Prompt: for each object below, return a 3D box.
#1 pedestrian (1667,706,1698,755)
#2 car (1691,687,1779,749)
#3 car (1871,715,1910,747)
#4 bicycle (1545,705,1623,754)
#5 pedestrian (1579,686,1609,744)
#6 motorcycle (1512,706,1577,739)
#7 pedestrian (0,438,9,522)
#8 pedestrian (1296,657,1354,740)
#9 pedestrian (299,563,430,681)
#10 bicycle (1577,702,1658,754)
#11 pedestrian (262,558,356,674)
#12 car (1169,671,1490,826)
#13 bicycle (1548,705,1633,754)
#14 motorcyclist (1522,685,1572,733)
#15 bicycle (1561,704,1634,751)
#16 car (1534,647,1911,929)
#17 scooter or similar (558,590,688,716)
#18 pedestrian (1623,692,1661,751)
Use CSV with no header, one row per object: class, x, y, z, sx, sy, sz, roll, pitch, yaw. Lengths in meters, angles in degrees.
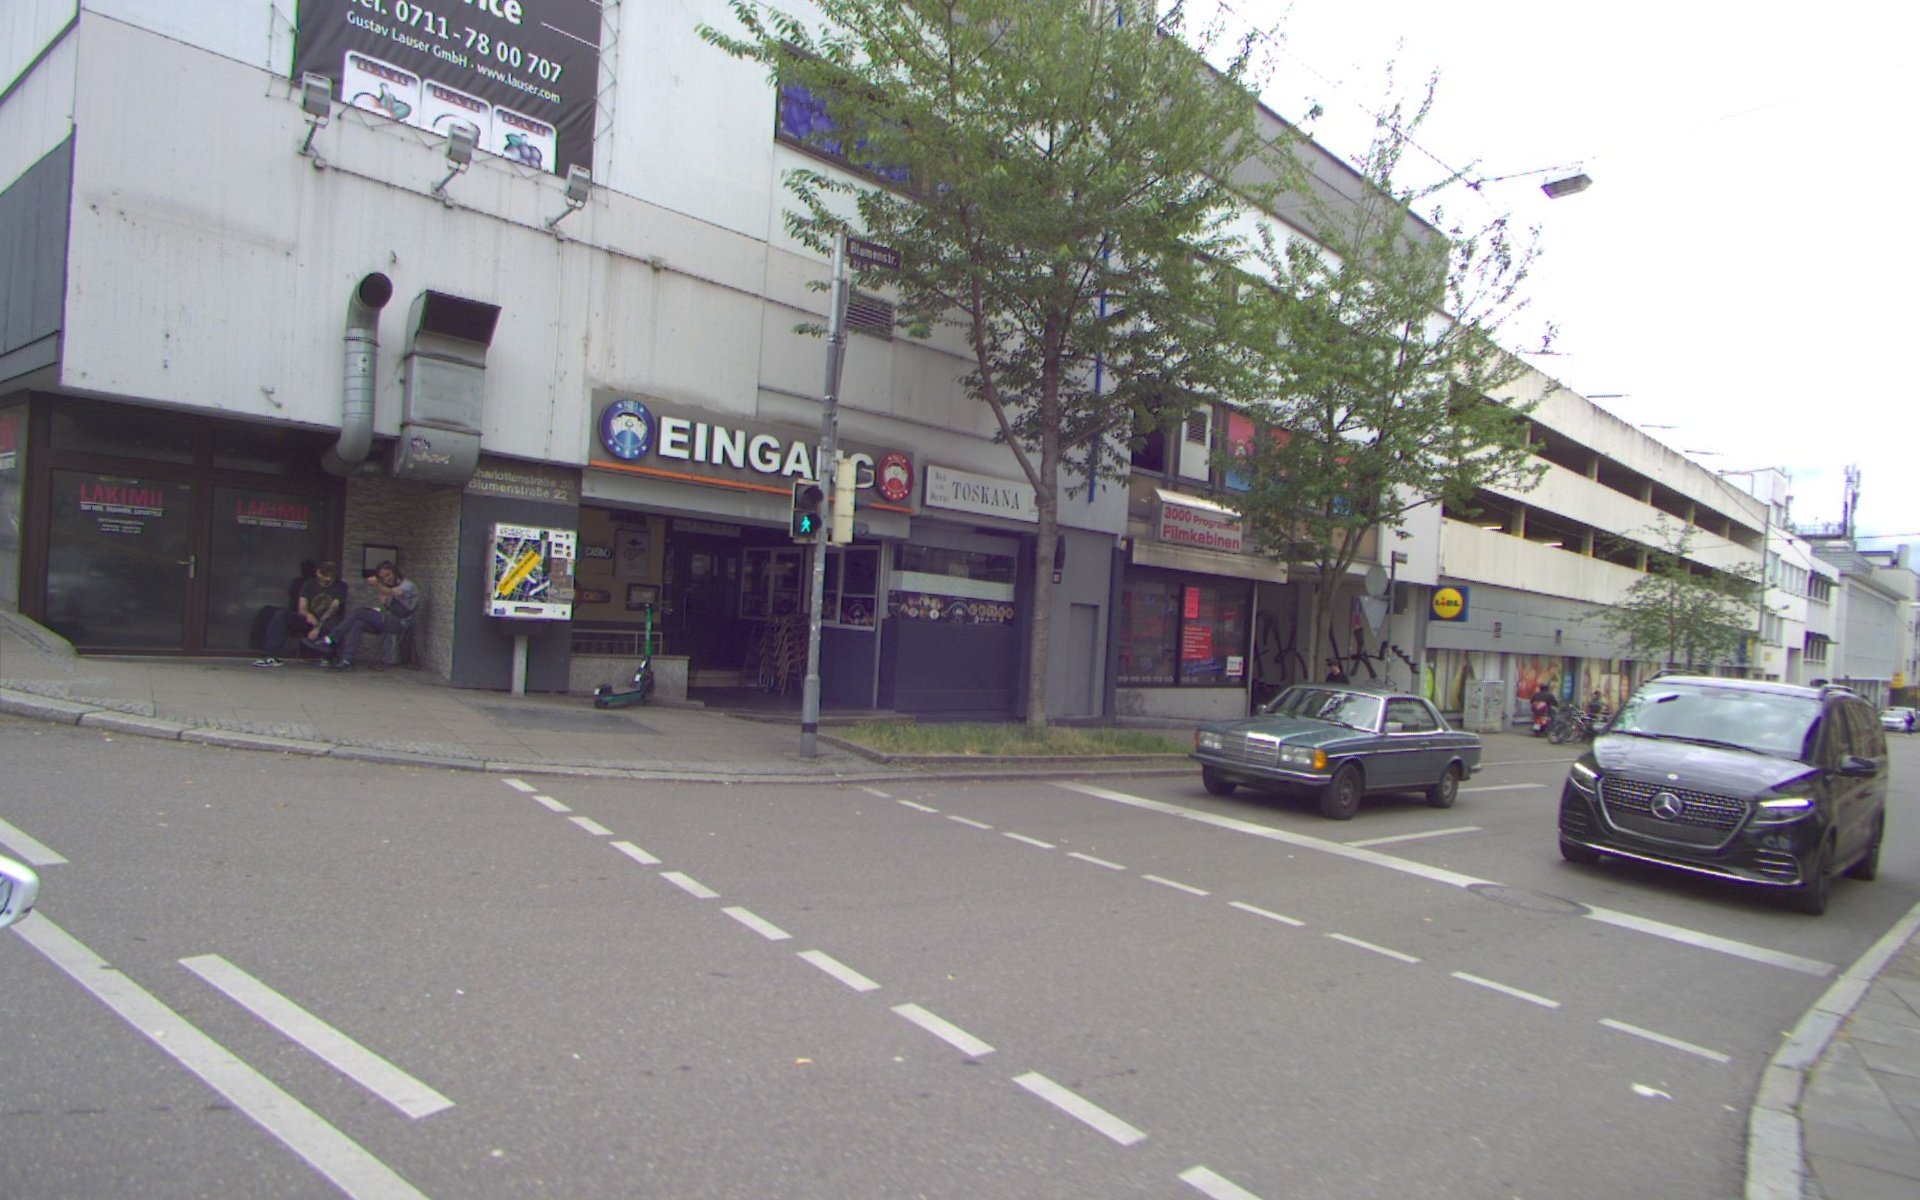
pedestrian,27.666,4.996,38.506,0.661,1.731,0.647,6,1,-38
car,30.302,4.621,39.297,3.973,2.038,1.855,7,0,-42
car,69.045,9.707,74.621,3.697,2.038,1.673,7,0,-43
bicycle,17.236,3.560,27.814,0.556,1.073,1.645,6,0,-42
pedestrian,23.046,4.179,36.566,0.567,2.038,0.594,6,1,-42
motorcycle,18.318,3.837,31.481,2.740,0.821,0.812,8,0,-40
pedestrian,-9.401,-0.651,9.186,0.869,1.808,0.721,7,1,32
pedestrian,8.165,2.205,22.491,0.926,1.731,0.647,7,1,-38
pedestrian,-6.875,0.260,11.620,1.101,1.202,0.734,7,0,-40
bicycle,19.623,3.811,30.050,0.625,1.223,1.814,6,0,-42
pedestrian,-7.638,0.186,11.797,0.731,1.251,0.709,7,0,-41
car,4.605,1.710,12.118,4.563,1.373,1.741,7,-2,-44
bicycle,17.769,3.642,28.396,0.729,1.075,1.814,7,0,-42
motorcyclist,18.353,3.420,31.465,1.350,1.326,0.814,7,0,-39
bicycle,18.667,3.726,29.465,0.519,1.115,1.634,6,0,-42
car,7.660,1.668,9.856,5.118,1.929,1.977,8,-3,-42
scooter or similar,-4.016,0.659,12.084,0.586,1.364,1.393,7,-3,19
pedestrian,25.010,4.462,36.901,0.848,2.038,0.766,6,1,-42
